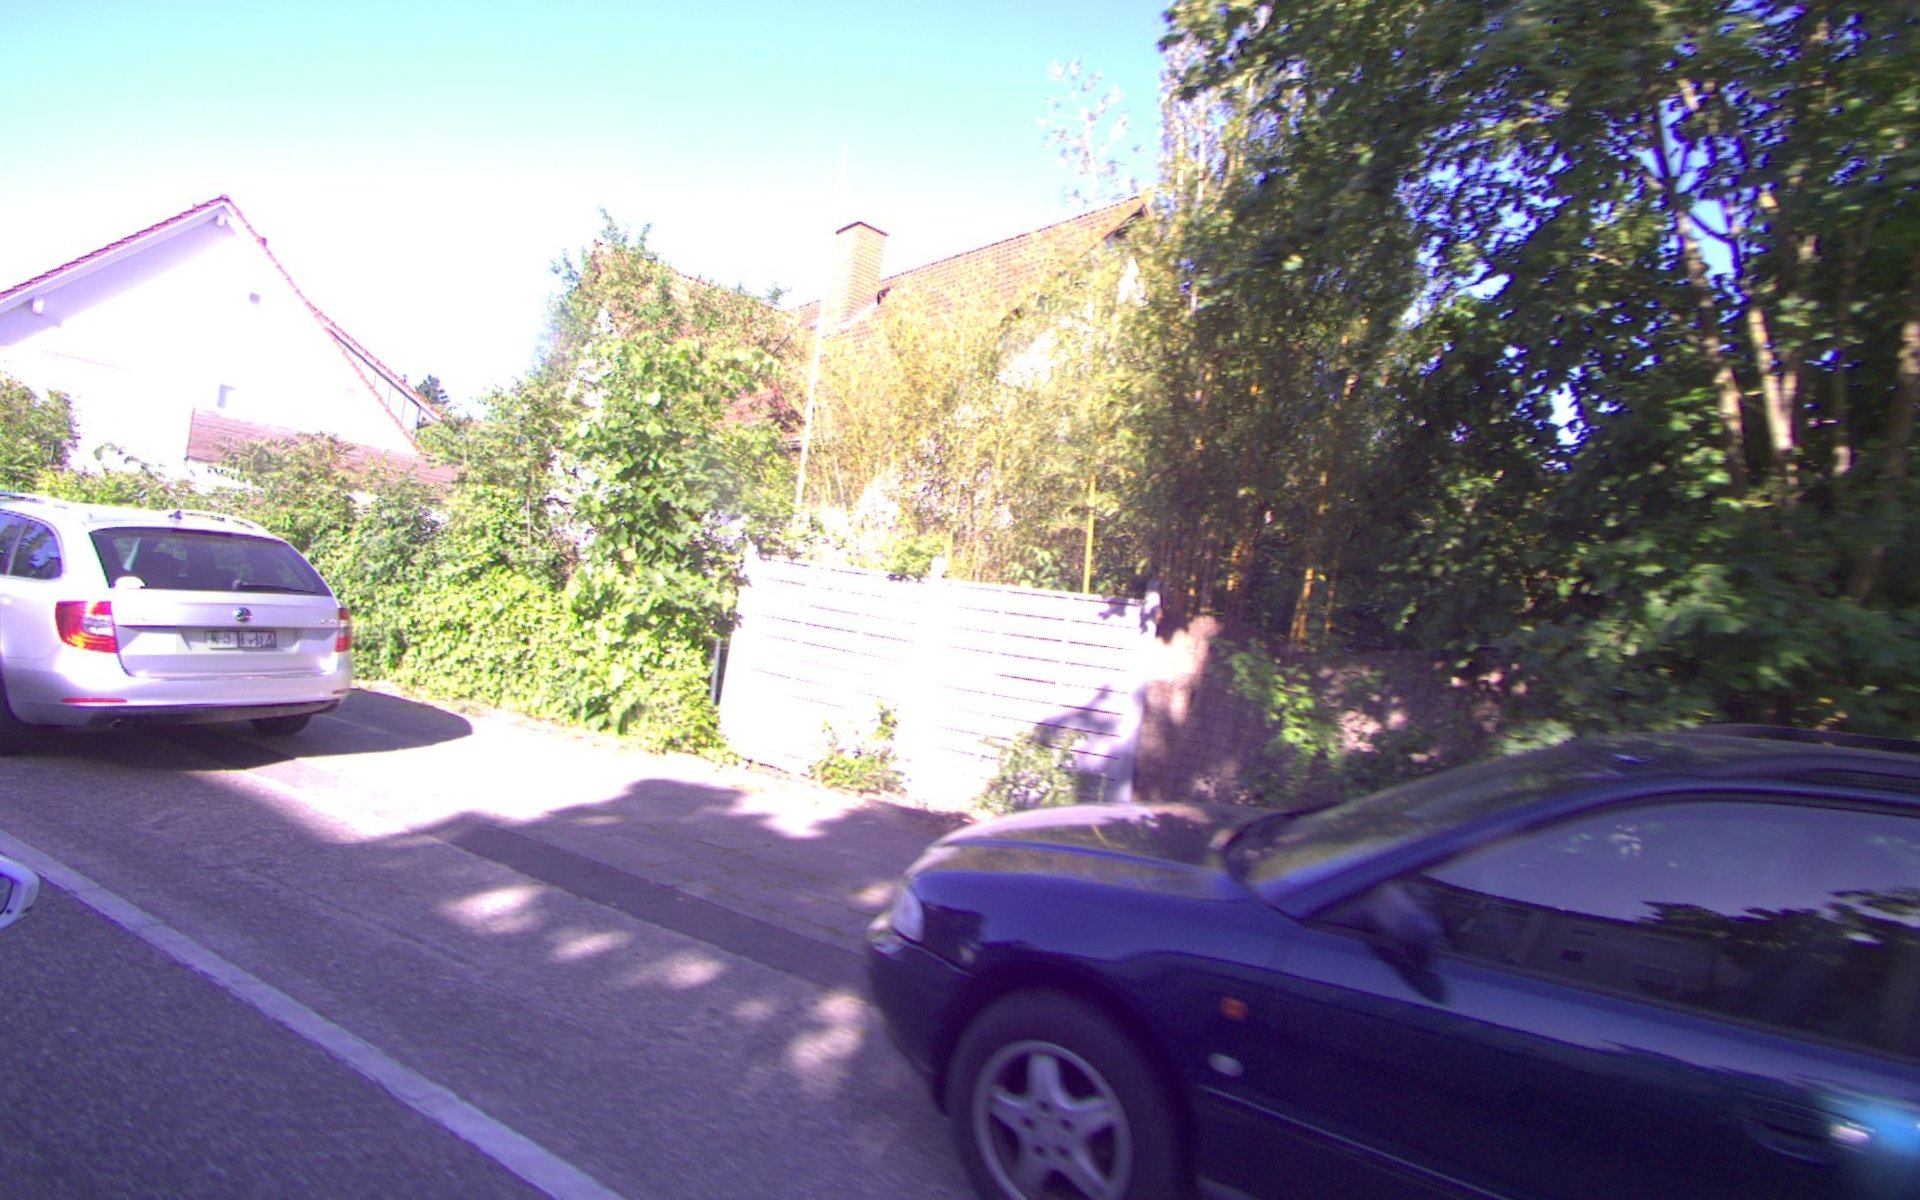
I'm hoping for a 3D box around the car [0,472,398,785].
[{"bbox_3d":[-6.250,0.022,7.069,4.582,1.581,1.768,7,-2,30],"label":"car"}]

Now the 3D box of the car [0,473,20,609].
[{"bbox_3d":[-11.028,-0.625,9.265,4.314,1.695,1.769,7,-2,24],"label":"car"}]

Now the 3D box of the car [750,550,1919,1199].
[{"bbox_3d":[1.775,0.948,2.378,4.391,1.581,1.657,7,-2,33],"label":"car"}]
